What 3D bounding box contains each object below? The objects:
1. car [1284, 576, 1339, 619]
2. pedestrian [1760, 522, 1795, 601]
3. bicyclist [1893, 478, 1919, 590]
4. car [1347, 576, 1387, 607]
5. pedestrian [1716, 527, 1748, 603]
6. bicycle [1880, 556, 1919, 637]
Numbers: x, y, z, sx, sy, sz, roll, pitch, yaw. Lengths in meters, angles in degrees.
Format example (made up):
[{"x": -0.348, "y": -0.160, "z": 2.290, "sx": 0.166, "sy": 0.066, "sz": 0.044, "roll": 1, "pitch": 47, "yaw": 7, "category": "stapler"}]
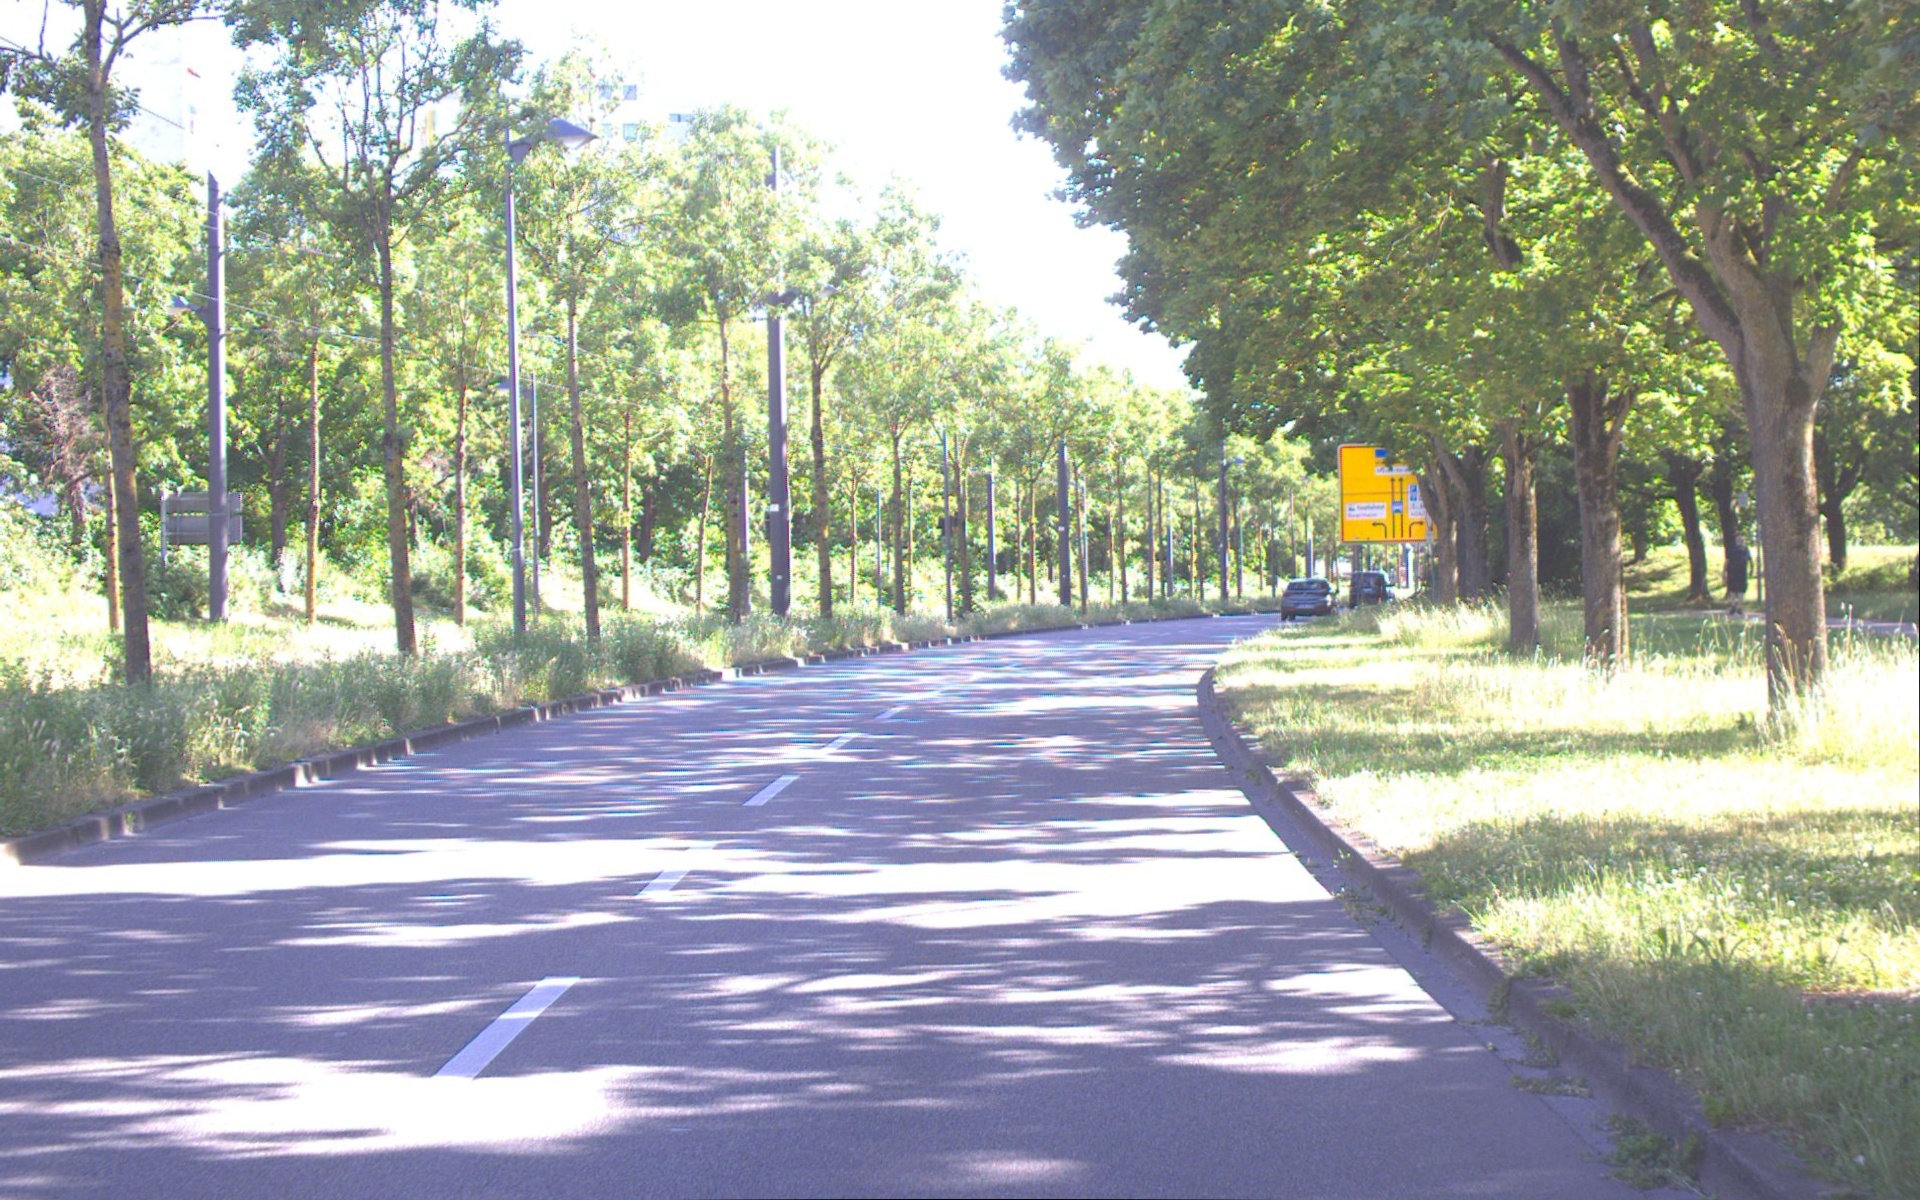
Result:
[{"x": 12.303, "y": -0.100, "z": 120.111, "sx": 1.635, "sy": 1.493, "sz": 4.233, "roll": 0, "pitch": 0, "yaw": 10, "category": "car"}, {"x": 17.558, "y": -0.829, "z": 73.838, "sx": 0.636, "sy": 1.686, "sz": 0.843, "roll": -1, "pitch": 0, "yaw": 18, "category": "pedestrian"}, {"x": 12.730, "y": -0.864, "z": 44.941, "sx": 0.789, "sy": 1.445, "sz": 0.845, "roll": -1, "pitch": 0, "yaw": -2, "category": "bicyclist"}, {"x": 19.731, "y": -0.433, "z": 166.569, "sx": 1.635, "sy": 1.493, "sz": 4.233, "roll": 0, "pitch": 0, "yaw": 10, "category": "car"}, {"x": 16.666, "y": -0.762, "z": 74.221, "sx": 0.547, "sy": 1.616, "sz": 0.843, "roll": -1, "pitch": 0, "yaw": 18, "category": "pedestrian"}, {"x": 12.748, "y": -0.054, "z": 44.957, "sx": 0.794, "sy": 1.043, "sz": 2.142, "roll": -1, "pitch": 0, "yaw": -2, "category": "bicycle"}]
